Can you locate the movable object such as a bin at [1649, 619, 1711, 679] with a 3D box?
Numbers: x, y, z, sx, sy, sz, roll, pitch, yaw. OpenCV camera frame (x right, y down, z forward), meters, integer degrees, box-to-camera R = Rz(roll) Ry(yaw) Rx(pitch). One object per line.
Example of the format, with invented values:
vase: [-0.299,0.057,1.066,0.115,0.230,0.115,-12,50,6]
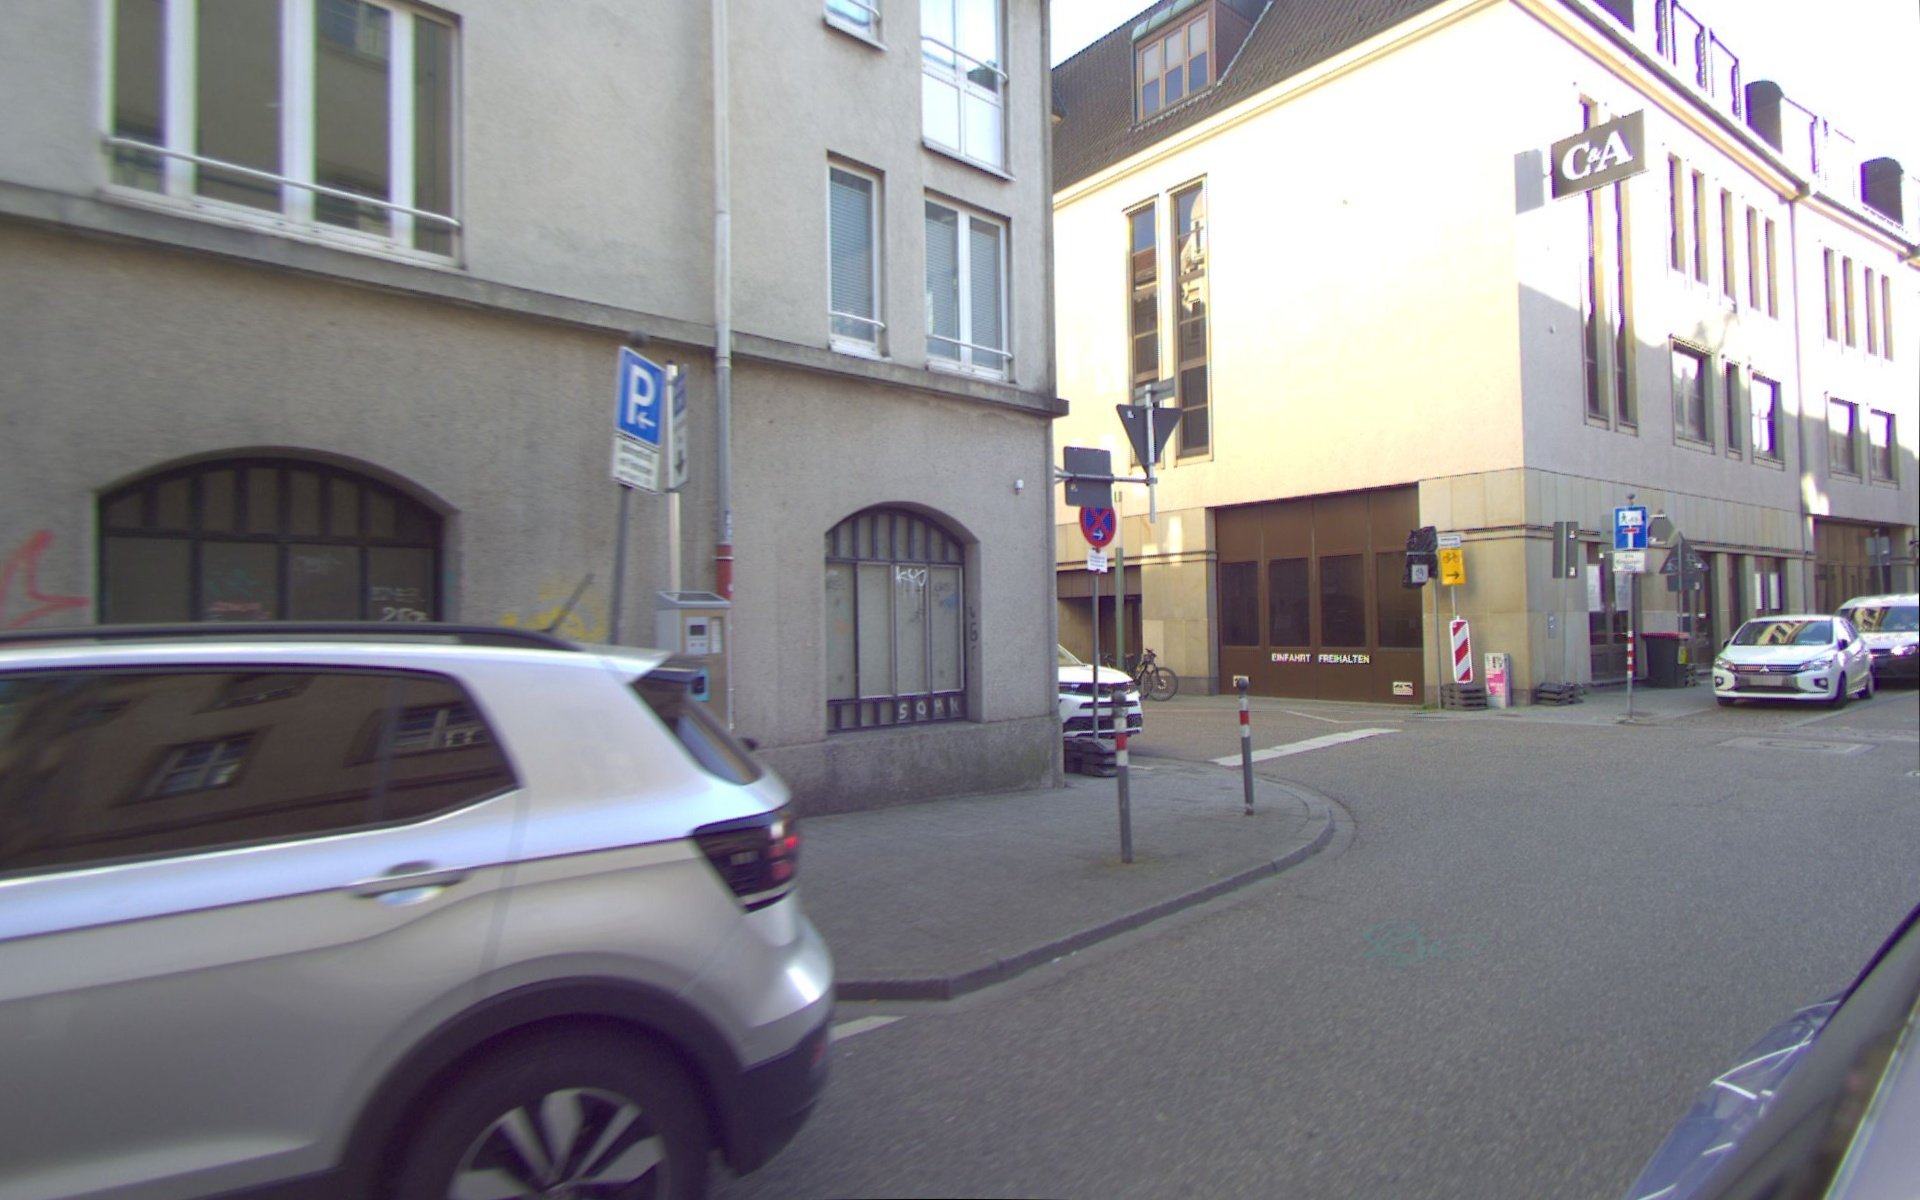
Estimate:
movable object such as a bin: [13.873,0.944,19.492,0.912,1.100,0.688,0,-3,-38]

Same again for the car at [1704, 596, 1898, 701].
car: [14.286,0.771,17.127,3.928,1.568,1.734,0,-3,-39]

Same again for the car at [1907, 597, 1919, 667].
car: [24.159,0.628,23.816,3.782,1.605,1.776,-1,-6,-34]

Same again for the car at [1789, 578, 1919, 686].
car: [19.070,0.611,20.500,5.095,1.886,1.948,-1,-6,-34]

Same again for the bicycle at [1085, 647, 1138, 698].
bicycle: [3.205,1.526,21.577,0.460,1.021,1.424,-1,-3,-20]

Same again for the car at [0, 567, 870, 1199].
car: [-2.371,0.797,2.542,3.903,1.579,1.834,-1,-2,-20]

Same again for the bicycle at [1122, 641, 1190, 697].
bicycle: [4.075,1.430,21.137,0.477,1.088,1.654,-1,-3,-25]

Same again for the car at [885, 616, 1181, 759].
car: [0.814,1.088,13.673,1.734,1.588,4.079,0,-2,-36]
